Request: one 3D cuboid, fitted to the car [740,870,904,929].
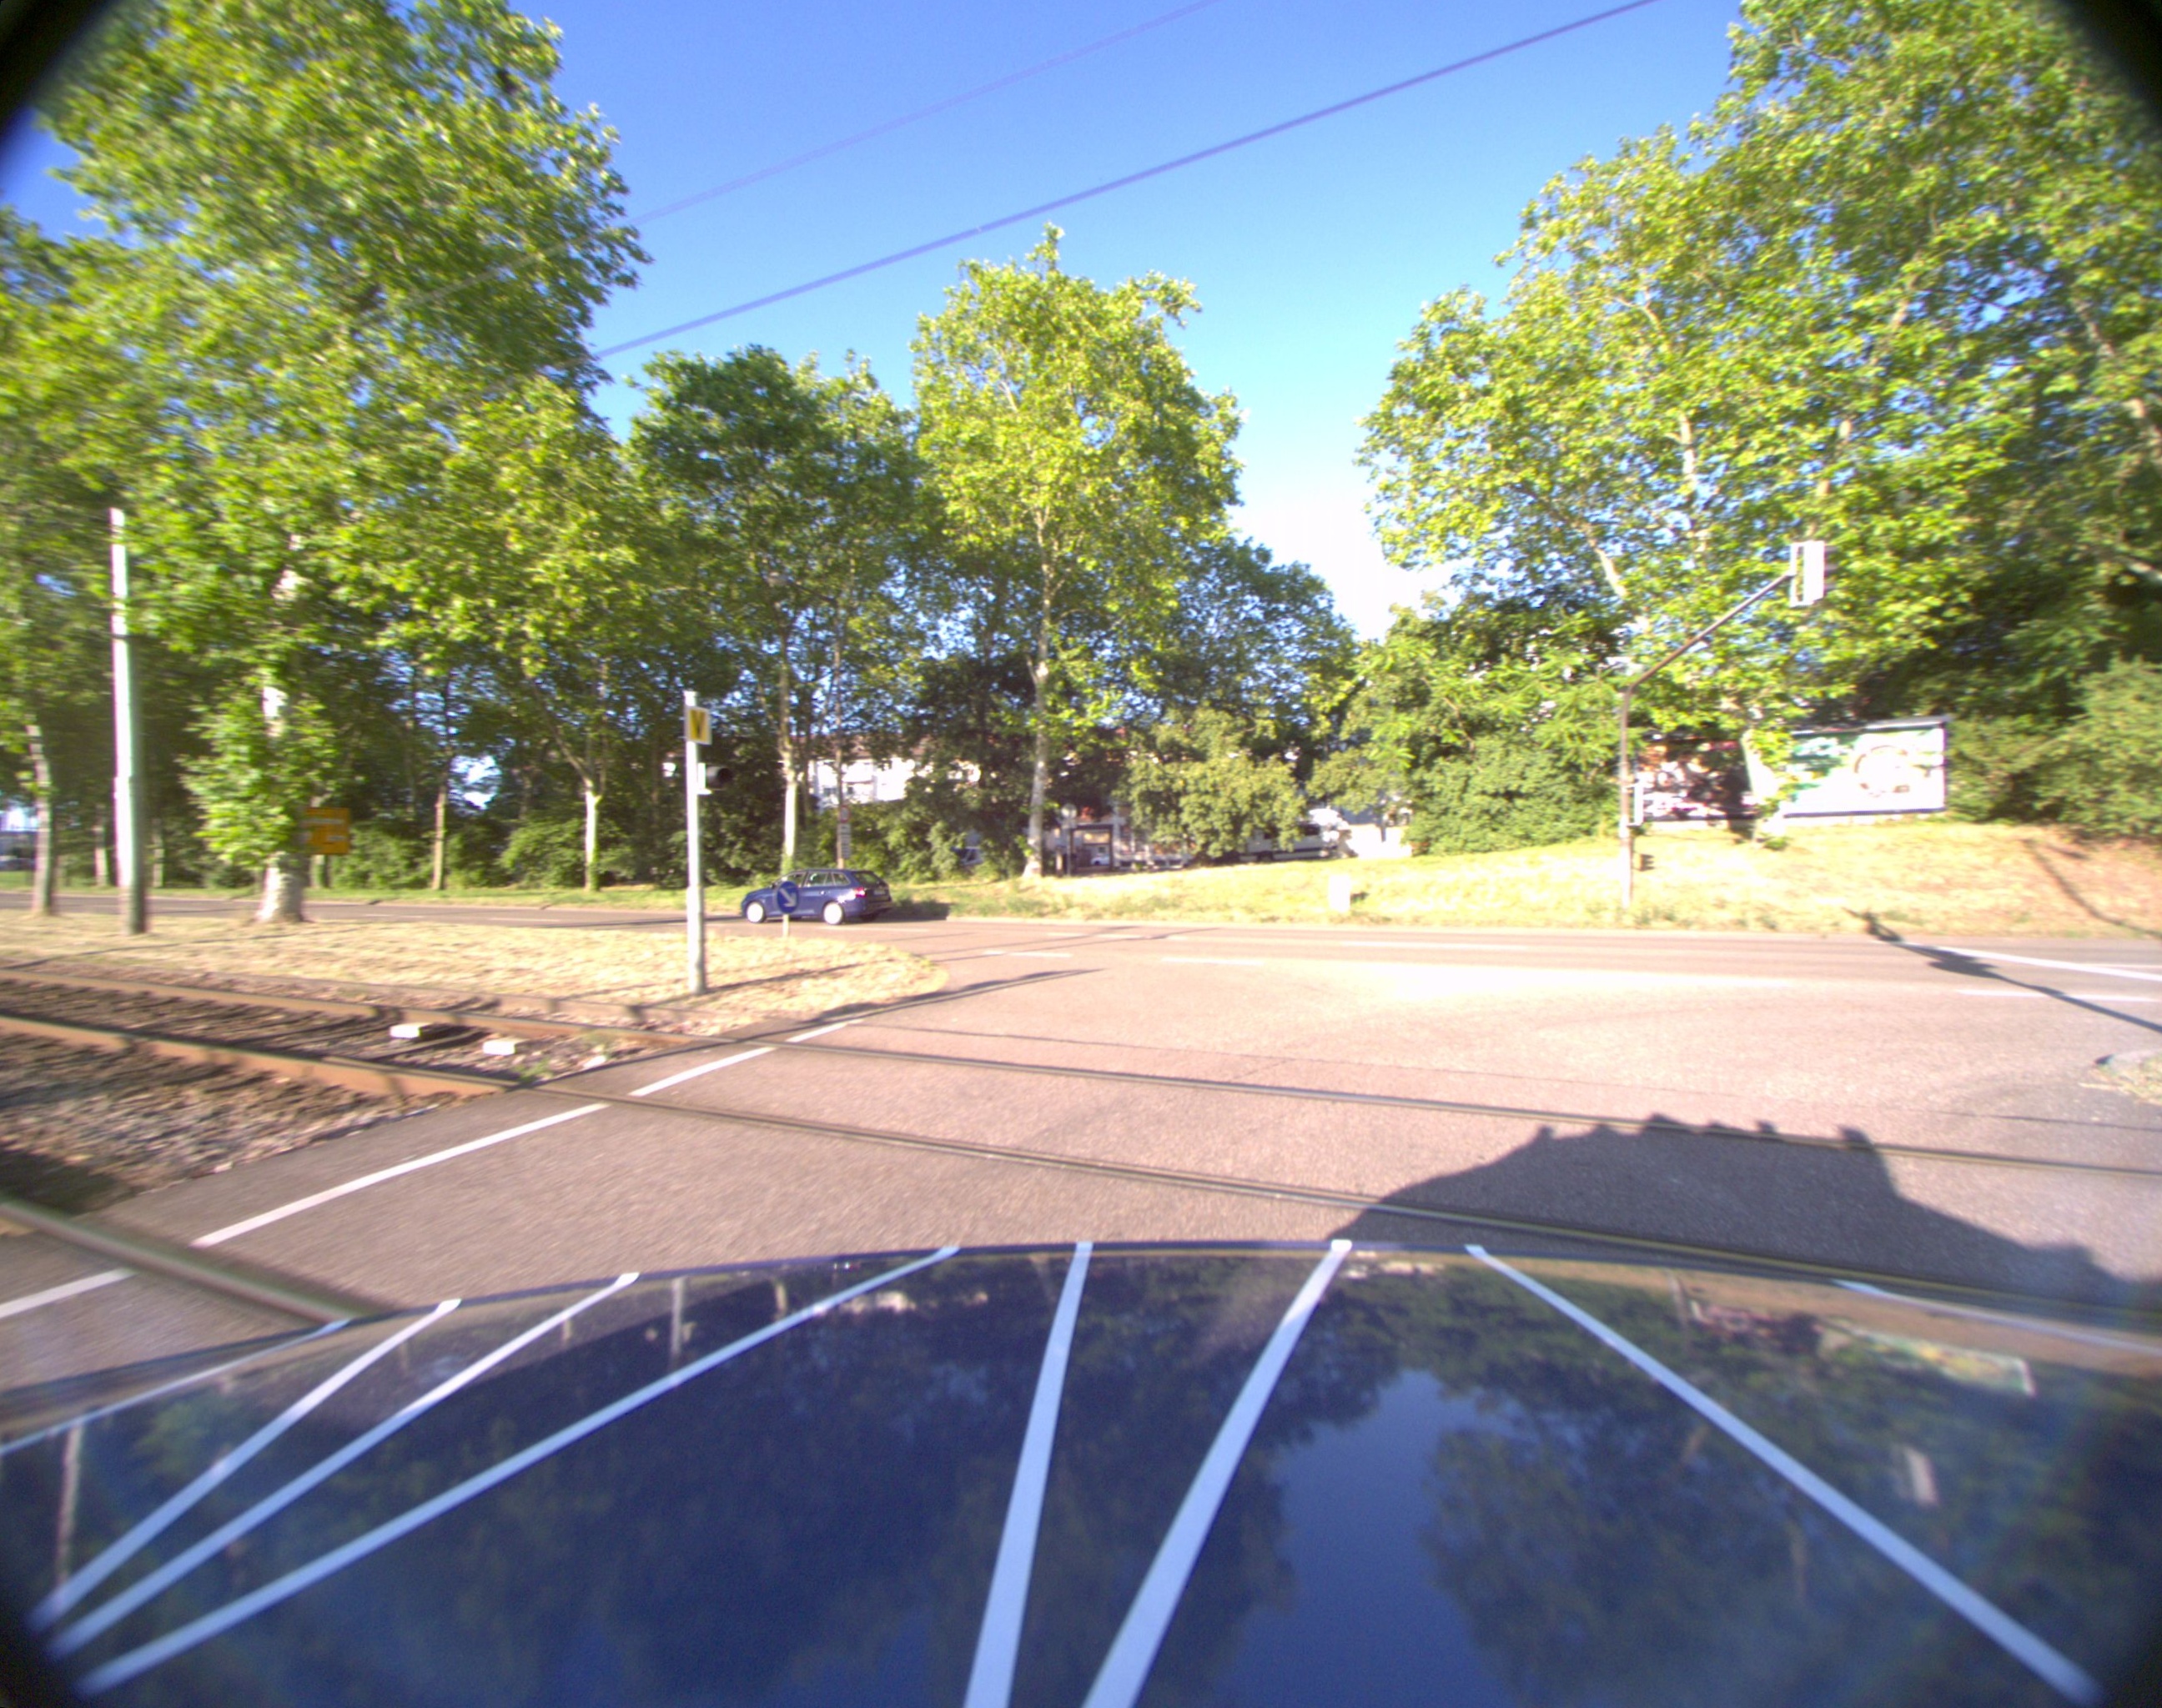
[{"bbox_3d":[-6.894,1.163,20.209,3.976,1.433,1.633,-1,-1,20],"label":"car"}]

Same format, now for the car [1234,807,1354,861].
[{"bbox_3d":[10.745,-0.942,38.475,5.614,2.498,1.810,-1,0,25],"label":"car"}]
